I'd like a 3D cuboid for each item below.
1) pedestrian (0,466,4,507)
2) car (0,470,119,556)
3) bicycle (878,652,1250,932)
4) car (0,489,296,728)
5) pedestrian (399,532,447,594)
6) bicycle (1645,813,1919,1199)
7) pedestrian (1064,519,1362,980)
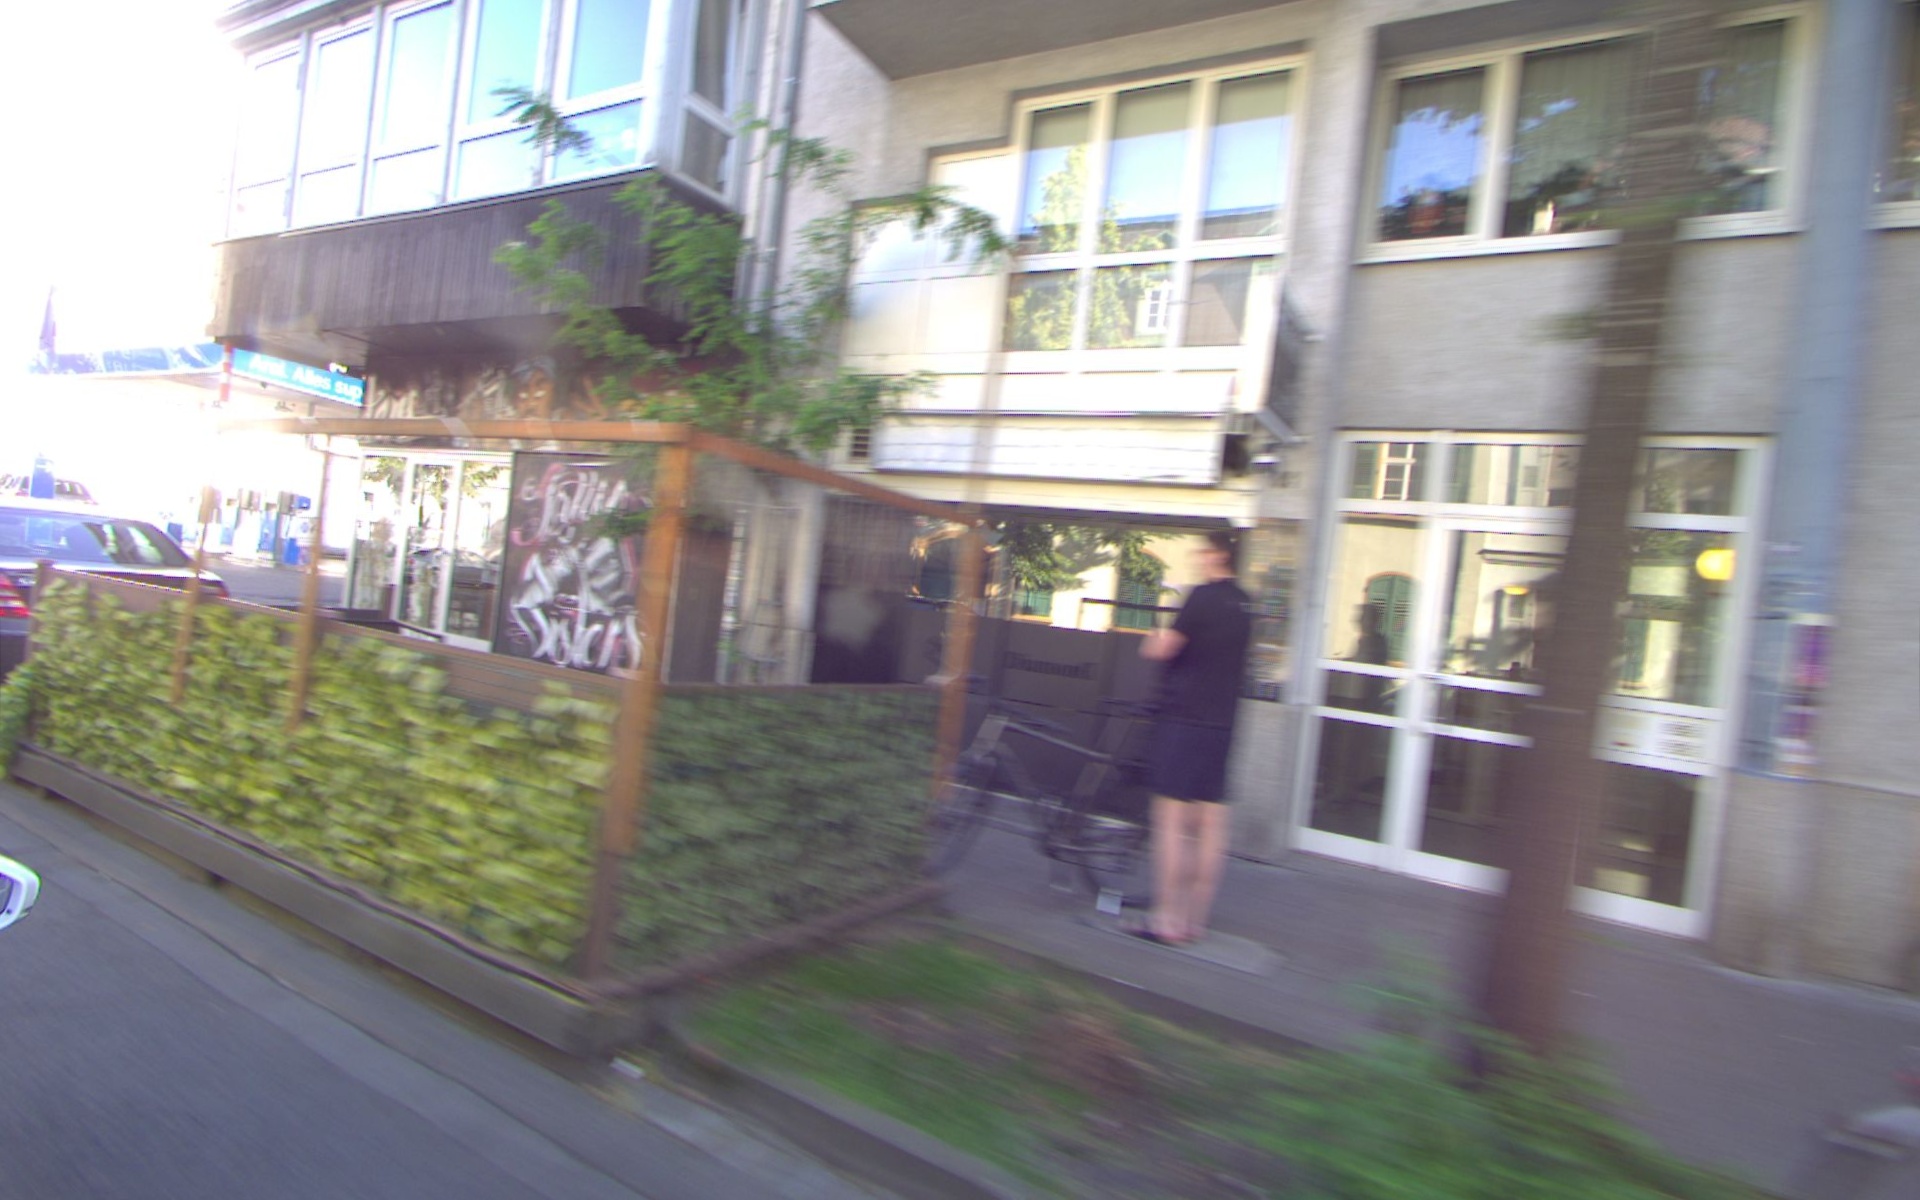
[{"bbox_3d":[-21.373,-2.024,21.775,0.677,1.873,0.707,7,1,31],"label":"pedestrian"},{"bbox_3d":[-21.880,-2.118,23.711,4.223,1.669,1.902,7,0,33],"label":"car"},{"bbox_3d":[0.501,0.962,5.158,1.657,1.163,0.680,7,1,-11],"label":"bicycle"},{"bbox_3d":[-7.435,-0.128,7.868,4.569,1.430,1.902,7,1,31],"label":"car"},{"bbox_3d":[-16.467,-1.124,30.866,0.806,1.763,0.818,7,0,19],"label":"pedestrian"},{"bbox_3d":[2.605,1.214,1.865,2.018,1.137,0.607,7,7,22],"label":"bicycle"},{"bbox_3d":[1.202,0.660,4.814,0.919,1.960,0.754,6,1,-34],"label":"pedestrian"}]
